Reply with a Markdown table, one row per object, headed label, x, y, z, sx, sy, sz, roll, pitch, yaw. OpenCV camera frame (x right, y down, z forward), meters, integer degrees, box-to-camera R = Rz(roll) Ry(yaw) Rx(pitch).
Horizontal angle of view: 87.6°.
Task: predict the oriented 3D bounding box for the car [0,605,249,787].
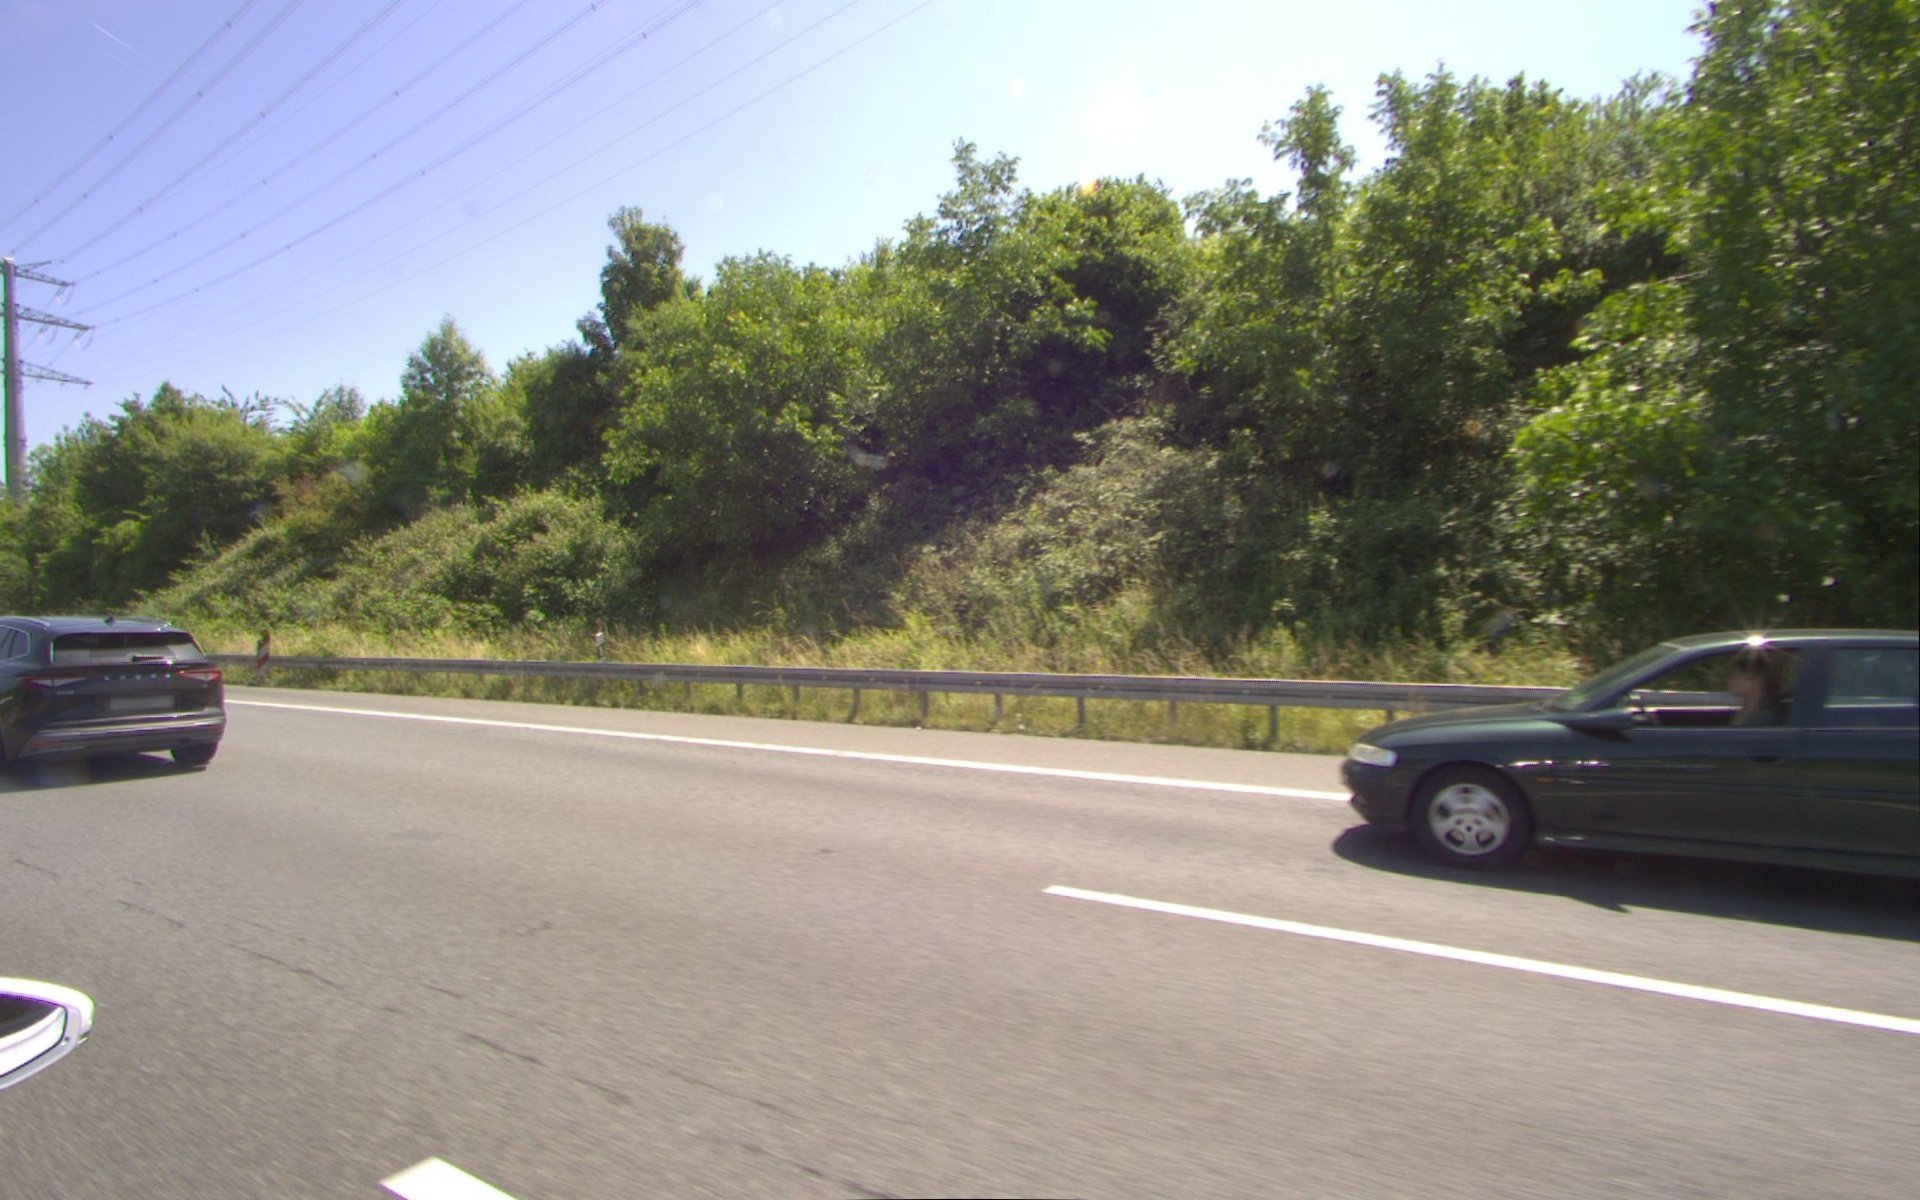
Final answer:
| label | x | y | z | sx | sy | sz | roll | pitch | yaw |
| --- | --- | --- | --- | --- | --- | --- | --- | --- | --- |
| car | -9.836 | 0.914 | 11.008 | 4.368 | 1.635 | 1.824 | -1 | -1 | 33 |

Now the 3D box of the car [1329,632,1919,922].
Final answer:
| label | x | y | z | sx | sy | sz | roll | pitch | yaw |
| --- | --- | --- | --- | --- | --- | --- | --- | --- | --- |
| car | 4.558 | 0.888 | 5.888 | 4.241 | 1.395 | 1.732 | -1 | -2 | 32 |
